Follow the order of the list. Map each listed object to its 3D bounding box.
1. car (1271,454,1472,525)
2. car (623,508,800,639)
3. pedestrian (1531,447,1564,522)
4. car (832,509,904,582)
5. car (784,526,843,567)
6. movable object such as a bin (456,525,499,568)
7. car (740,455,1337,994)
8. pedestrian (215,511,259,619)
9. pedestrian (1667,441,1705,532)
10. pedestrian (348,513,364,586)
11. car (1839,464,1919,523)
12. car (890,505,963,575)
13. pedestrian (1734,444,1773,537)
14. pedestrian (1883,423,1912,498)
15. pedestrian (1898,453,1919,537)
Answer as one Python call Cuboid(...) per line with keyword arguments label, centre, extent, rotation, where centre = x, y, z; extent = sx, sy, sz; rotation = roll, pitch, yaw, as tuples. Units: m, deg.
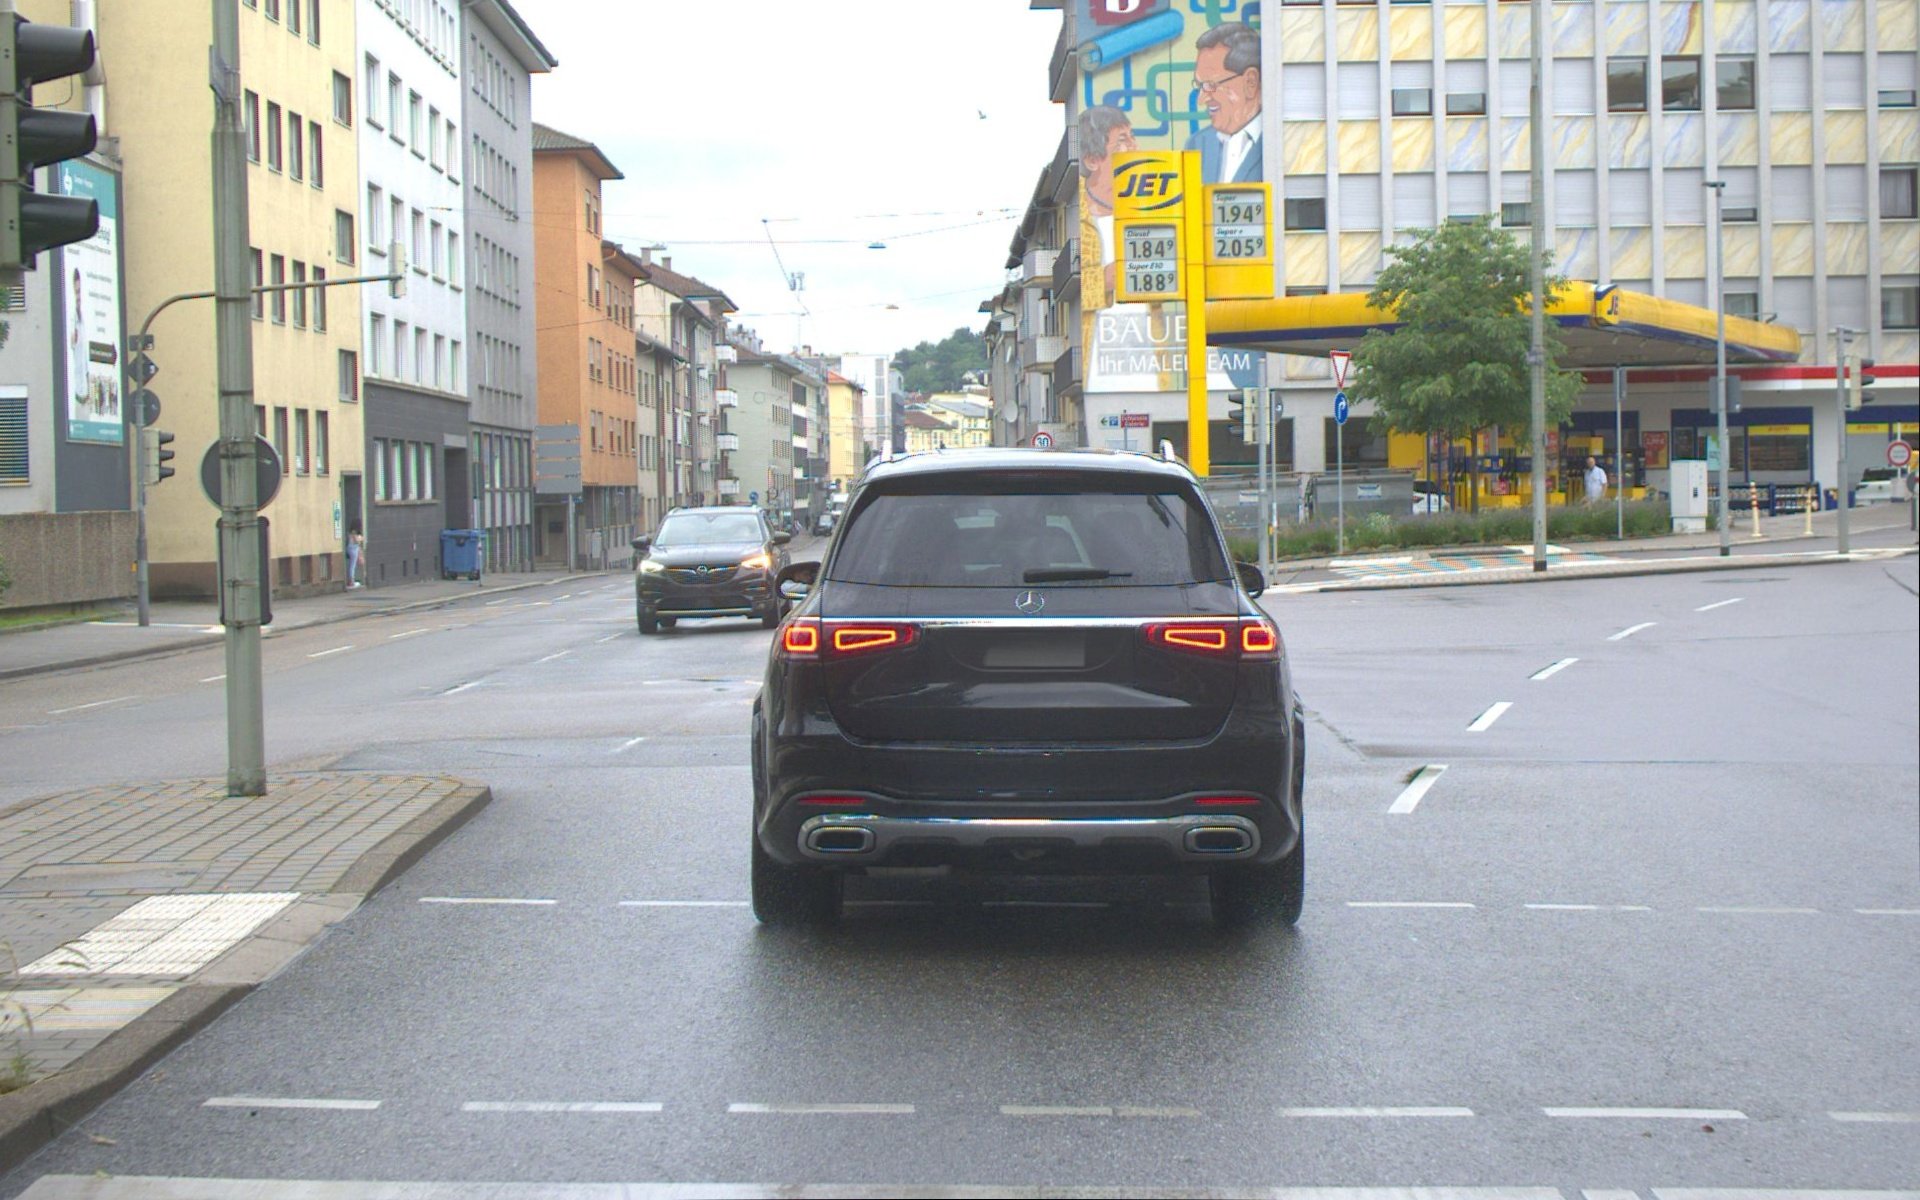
Cuboid(label="car", centre=(8.657, -2.318, 72.502), extent=(1.732, 1.371, 3.998), rotation=(-3, 2, -43))
Cuboid(label="car", centre=(-3.213, -0.328, 45.237), extent=(1.993, 1.609, 4.189), rotation=(1, 0, 0))
Cuboid(label="pedestrian", centre=(13.619, -2.674, 79.699), extent=(0.527, 1.721, 0.688), rotation=(0, 1, 30))
Cuboid(label="car", centre=(-2.607, -1.539, 98.463), extent=(1.993, 2.007, 4.000), rotation=(1, 0, -1))
Cuboid(label="car", centre=(-5.830, -2.132, 137.444), extent=(1.994, 1.542, 4.189), rotation=(1, 0, 2))
Cuboid(label="movable object such as a bin", centre=(-12.001, -1.336, 85.573), extent=(0.910, 1.034, 0.844), rotation=(1, 0, 1))
Cuboid(label="car", centre=(0.267, 0.428, 13.666), extent=(1.993, 1.794, 4.000), rotation=(1, 0, 0))
Cuboid(label="pedestrian", centre=(-11.717, -0.574, 55.699), extent=(0.627, 1.721, 0.650), rotation=(-2, 1, -10))
Cuboid(label="pedestrian", centre=(13.839, -2.157, 65.547), extent=(0.526, 1.721, 0.688), rotation=(0, 1, 27))
Cuboid(label="pedestrian", centre=(-13.534, -1.133, 77.013), extent=(0.245, 1.619, 0.411), rotation=(1, 0, 1))
Cuboid(label="car", centre=(25.016, -2.795, 90.738), extent=(1.998, 1.393, 3.991), rotation=(1, 0, 39))
Cuboid(label="car", centre=(-0.825, -1.440, 83.271), extent=(1.683, 1.590, 4.000), rotation=(1, 0, -1))
Cuboid(label="pedestrian", centre=(14.805, -2.039, 64.153), extent=(0.572, 1.692, 0.631), rotation=(1, 0, 1))
Cuboid(label="pedestrian", centre=(21.963, -3.265, 80.542), extent=(0.526, 1.721, 0.688), rotation=(0, 1, 27))
Cuboid(label="pedestrian", centre=(15.941, -1.750, 57.429), extent=(0.396, 1.395, 0.446), rotation=(1, 0, 1))
